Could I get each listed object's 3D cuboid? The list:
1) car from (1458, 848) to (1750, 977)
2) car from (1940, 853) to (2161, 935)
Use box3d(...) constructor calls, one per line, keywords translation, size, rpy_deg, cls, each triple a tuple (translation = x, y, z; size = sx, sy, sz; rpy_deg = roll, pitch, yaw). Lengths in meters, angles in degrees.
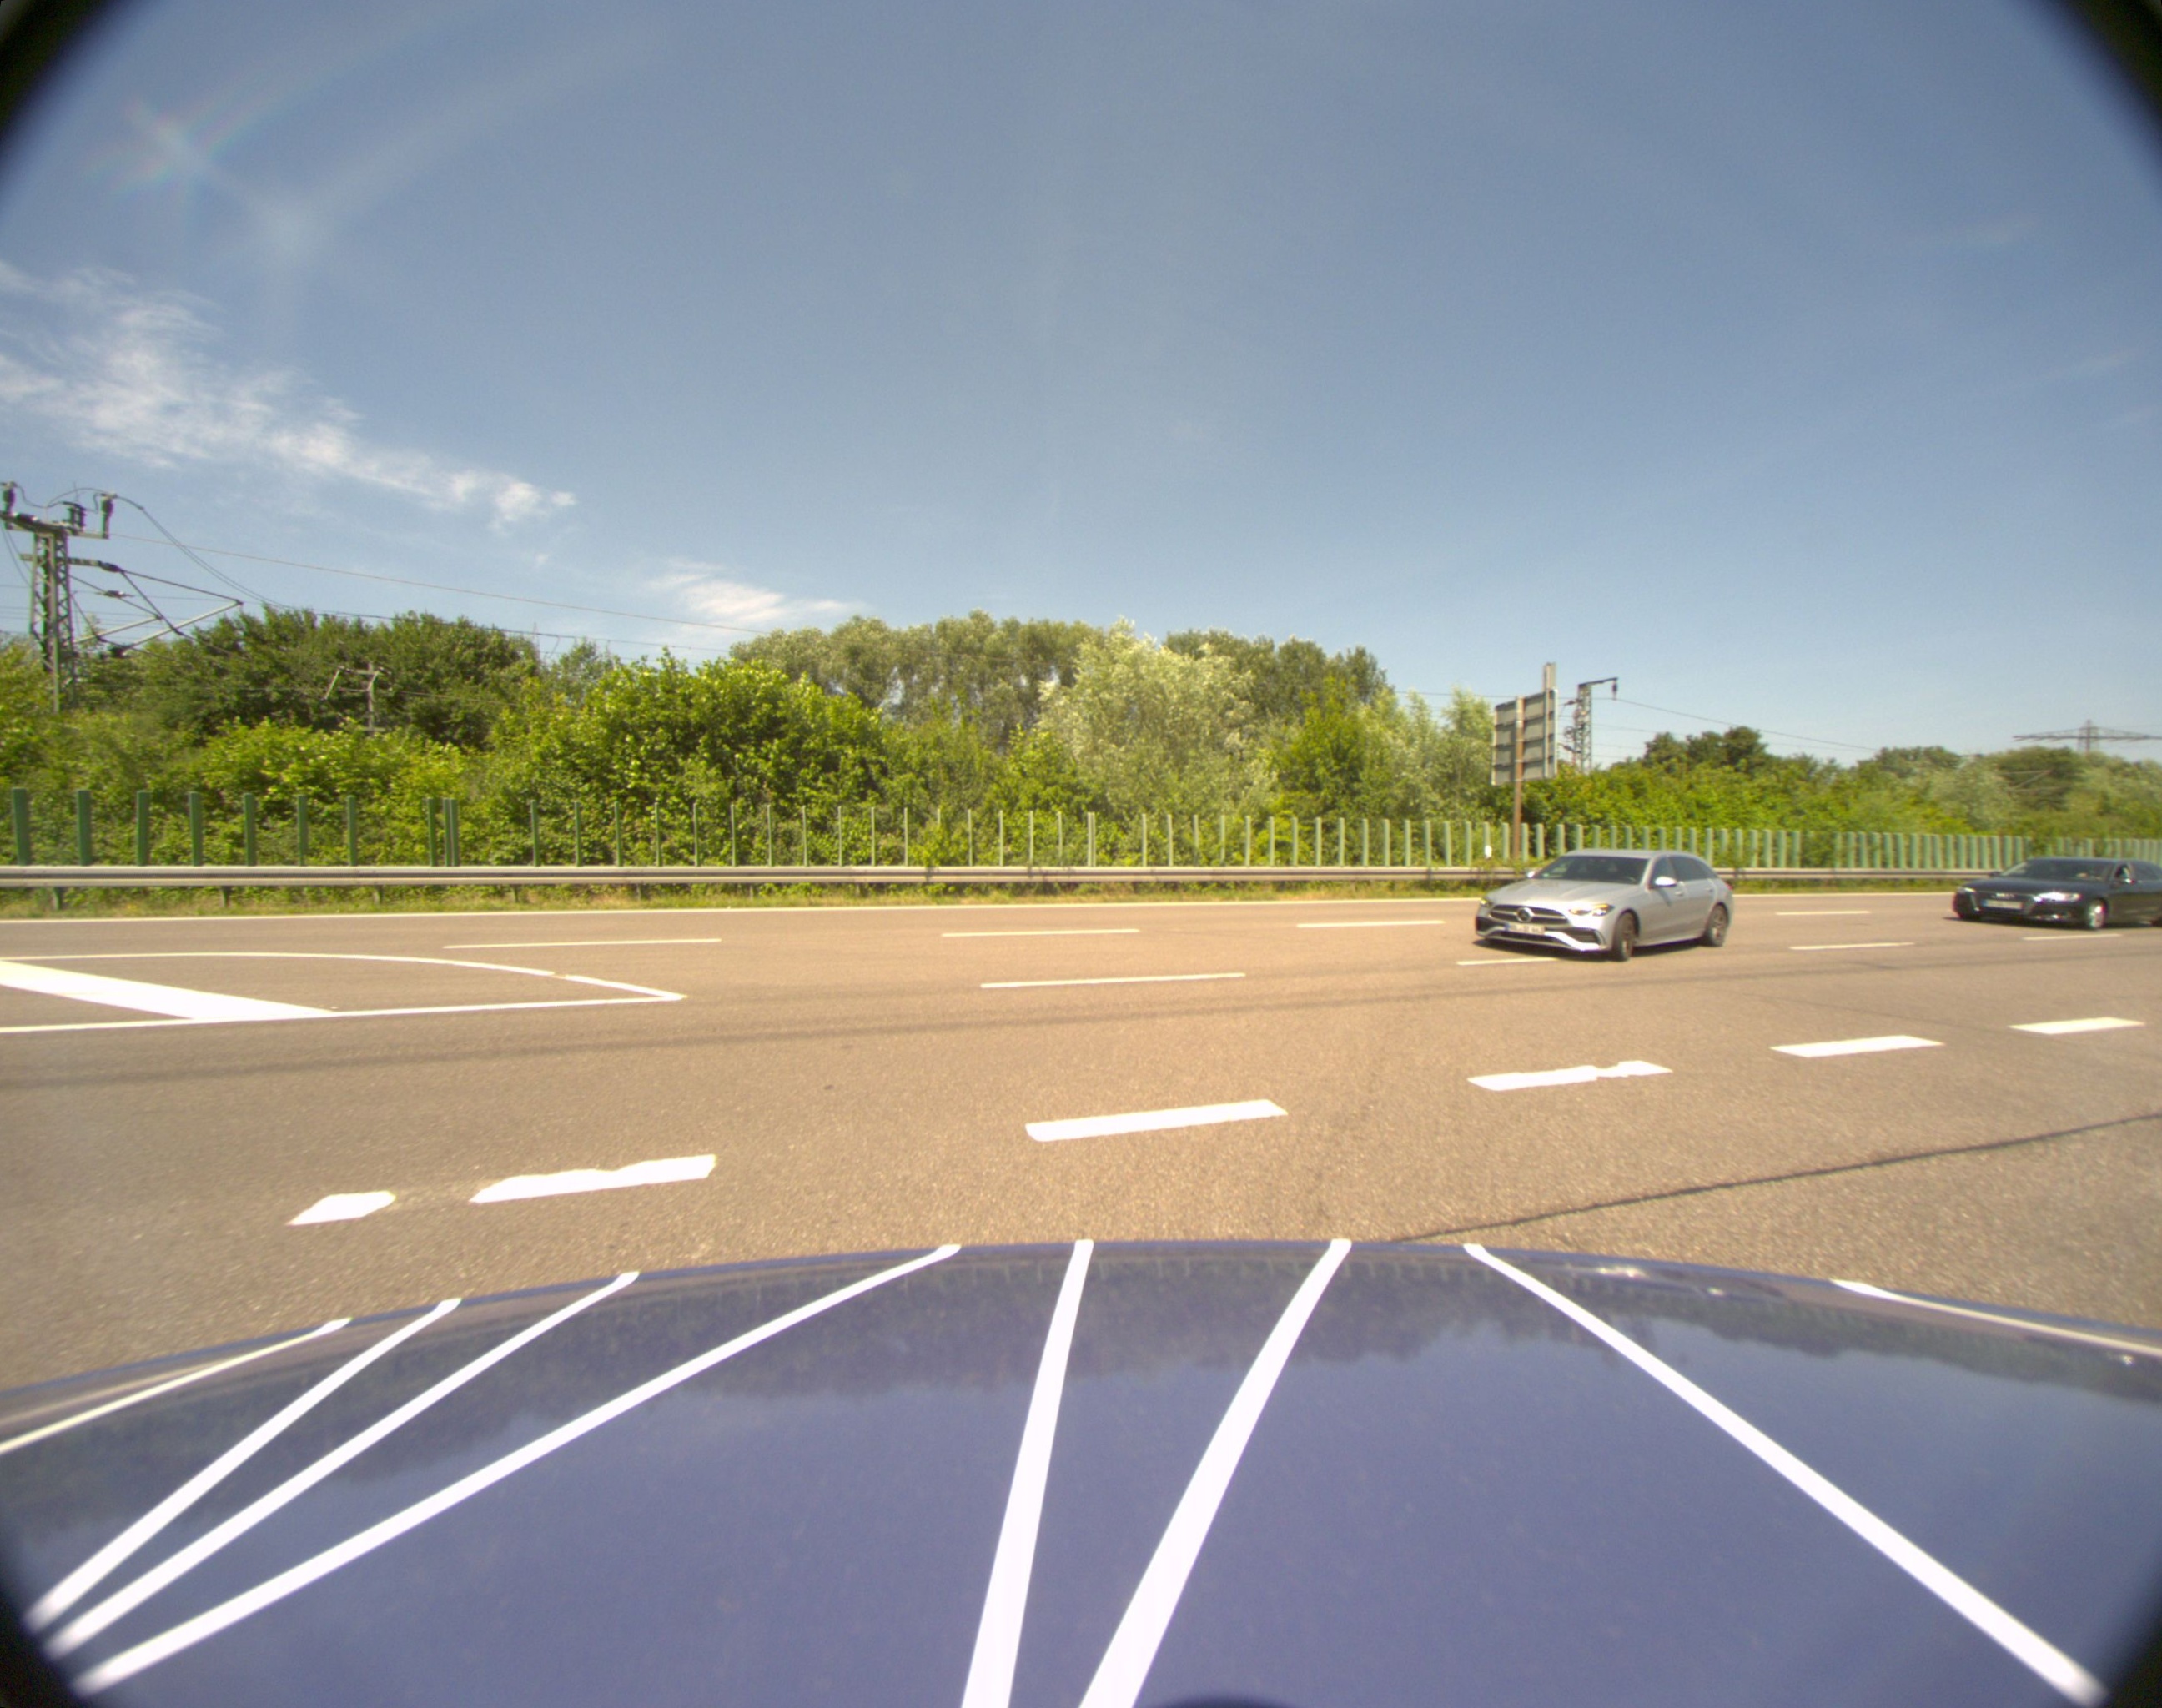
box3d(translation=(7.716, 0.715, 11.154), size=(4.155, 1.479, 1.820), rpy_deg=(-1, 4, -29), cls="car")
box3d(translation=(20.241, 0.744, 15.667), size=(4.152, 1.432, 1.821), rpy_deg=(0, 4, -19), cls="car")
